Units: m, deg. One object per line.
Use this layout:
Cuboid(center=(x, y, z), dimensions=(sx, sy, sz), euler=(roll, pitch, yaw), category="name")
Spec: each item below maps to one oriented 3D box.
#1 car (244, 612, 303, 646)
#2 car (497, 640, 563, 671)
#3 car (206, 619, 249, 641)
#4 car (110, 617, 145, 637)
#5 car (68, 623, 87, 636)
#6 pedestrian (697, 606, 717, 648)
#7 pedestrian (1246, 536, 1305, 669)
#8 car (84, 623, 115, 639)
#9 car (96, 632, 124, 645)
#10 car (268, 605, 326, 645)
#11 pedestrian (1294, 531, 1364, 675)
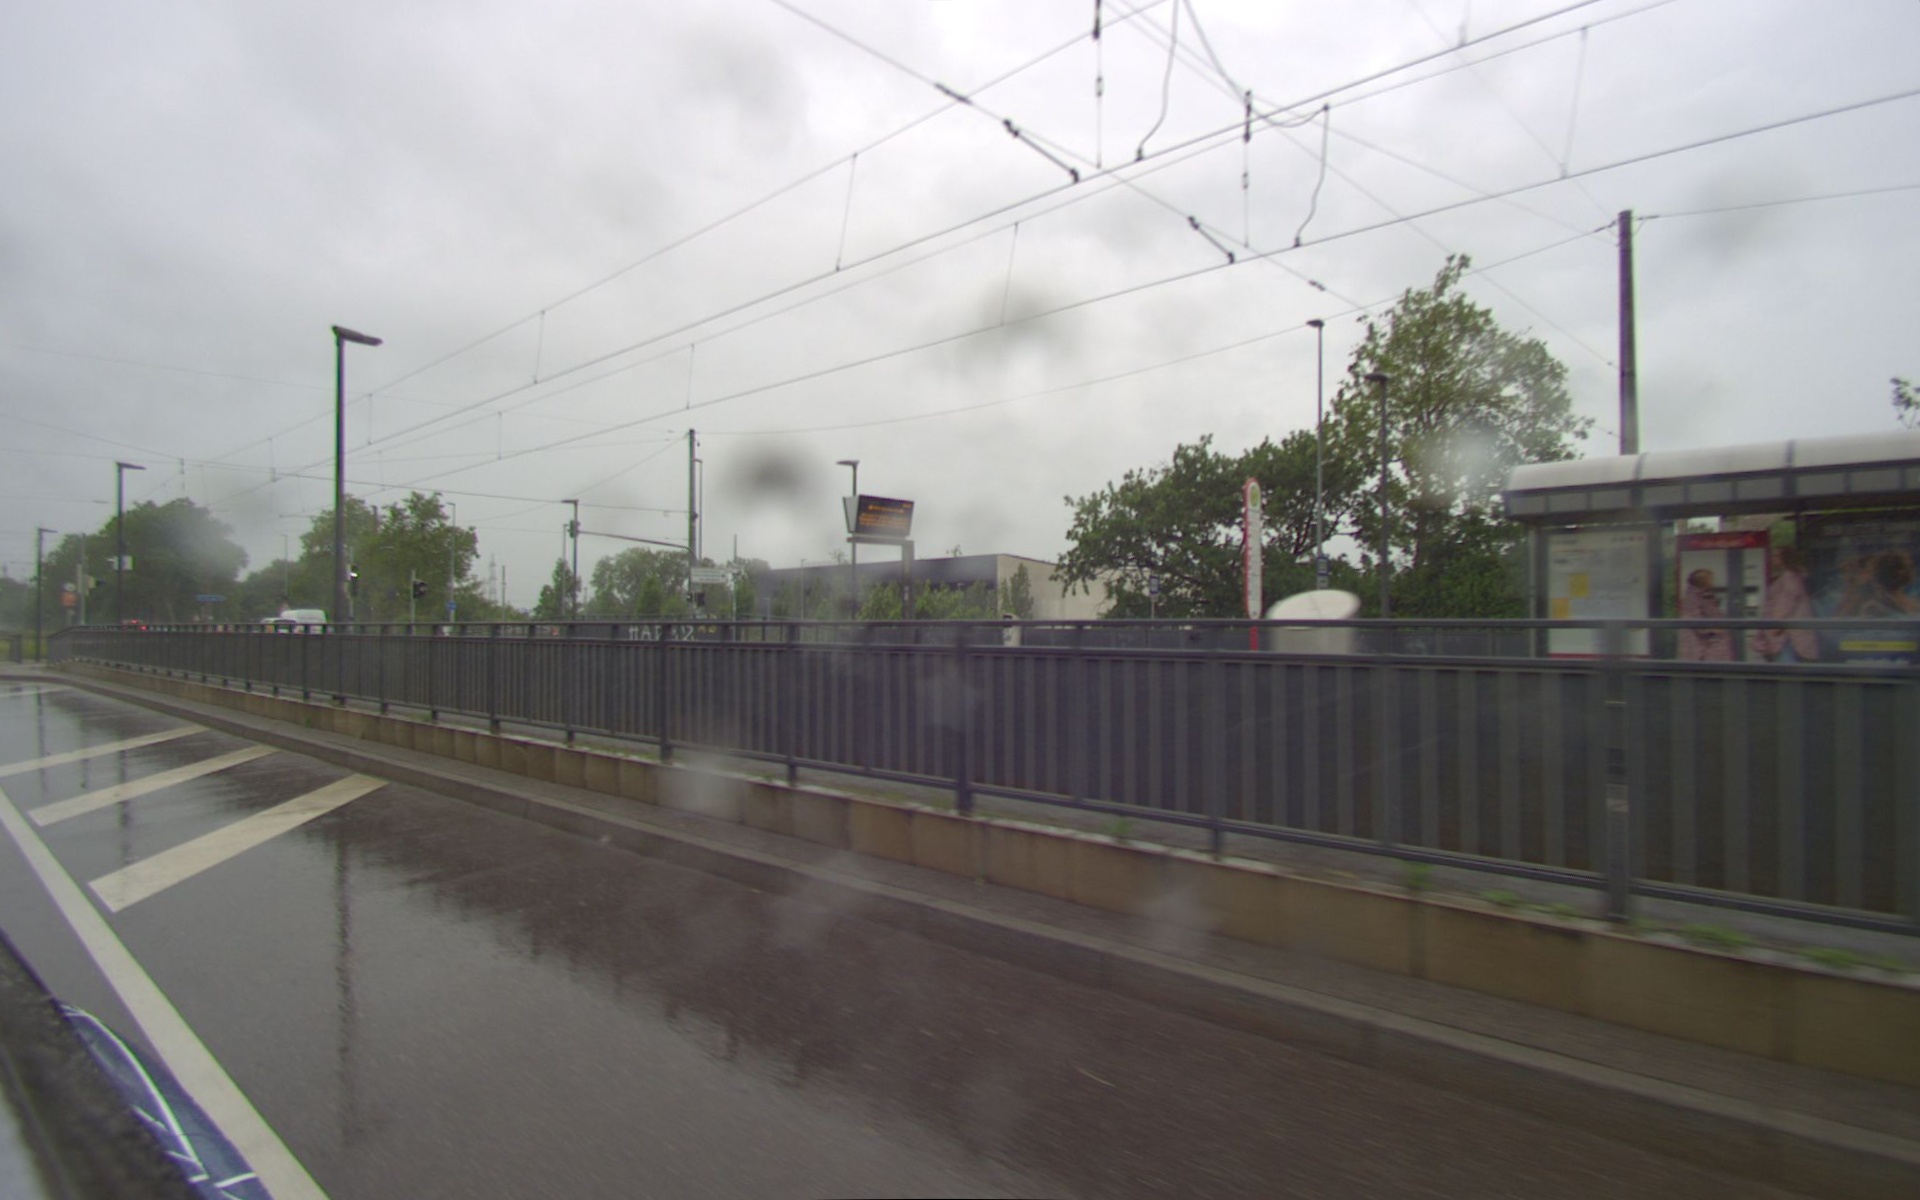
Cuboid(center=(-42.799, 1.774, 63.066), dimensions=(4.752, 2.029, 1.972), euler=(-1, -1, 42), category="car")
Cuboid(center=(-28.676, 3.661, 67.471), dimensions=(3.931, 1.874, 2.006), euler=(-1, -1, -27), category="car")
Cuboid(center=(-60.364, 2.430, 83.367), dimensions=(4.624, 1.720, 1.972), euler=(-1, -1, 43), category="car")
Cuboid(center=(-78.516, 2.512, 95.467), dimensions=(4.257, 1.785, 1.972), euler=(-1, -1, 43), category="car")
Cuboid(center=(-117.948, 3.907, 135.229), dimensions=(3.619, 1.602, 1.584), euler=(-1, -1, 43), category="car")
Cuboid(center=(-12.495, 1.319, 50.001), dimensions=(0.697, 2.029, 0.691), euler=(-2, -1, 43), category="pedestrian")
Cuboid(center=(9.937, 0.092, 31.827), dimensions=(1.514, 4.059, 1.160), euler=(-1, -1, 31), category="pedestrian")
Cuboid(center=(-92.690, 3.389, 109.019), dimensions=(4.381, 1.608, 1.972), euler=(-2, -5, 43), category="car")
Cuboid(center=(-101.522, 4.553, 120.866), dimensions=(4.297, 1.497, 1.972), euler=(-1, -1, 42), category="car")
Cuboid(center=(-47.027, 1.756, 71.748), dimensions=(5.738, 2.733, 2.097), euler=(-1, -1, 43), category="car")
Cuboid(center=(10.764, 0.082, 29.560), dimensions=(1.152, 4.059, 1.524), euler=(0, -1, -20), category="pedestrian")
